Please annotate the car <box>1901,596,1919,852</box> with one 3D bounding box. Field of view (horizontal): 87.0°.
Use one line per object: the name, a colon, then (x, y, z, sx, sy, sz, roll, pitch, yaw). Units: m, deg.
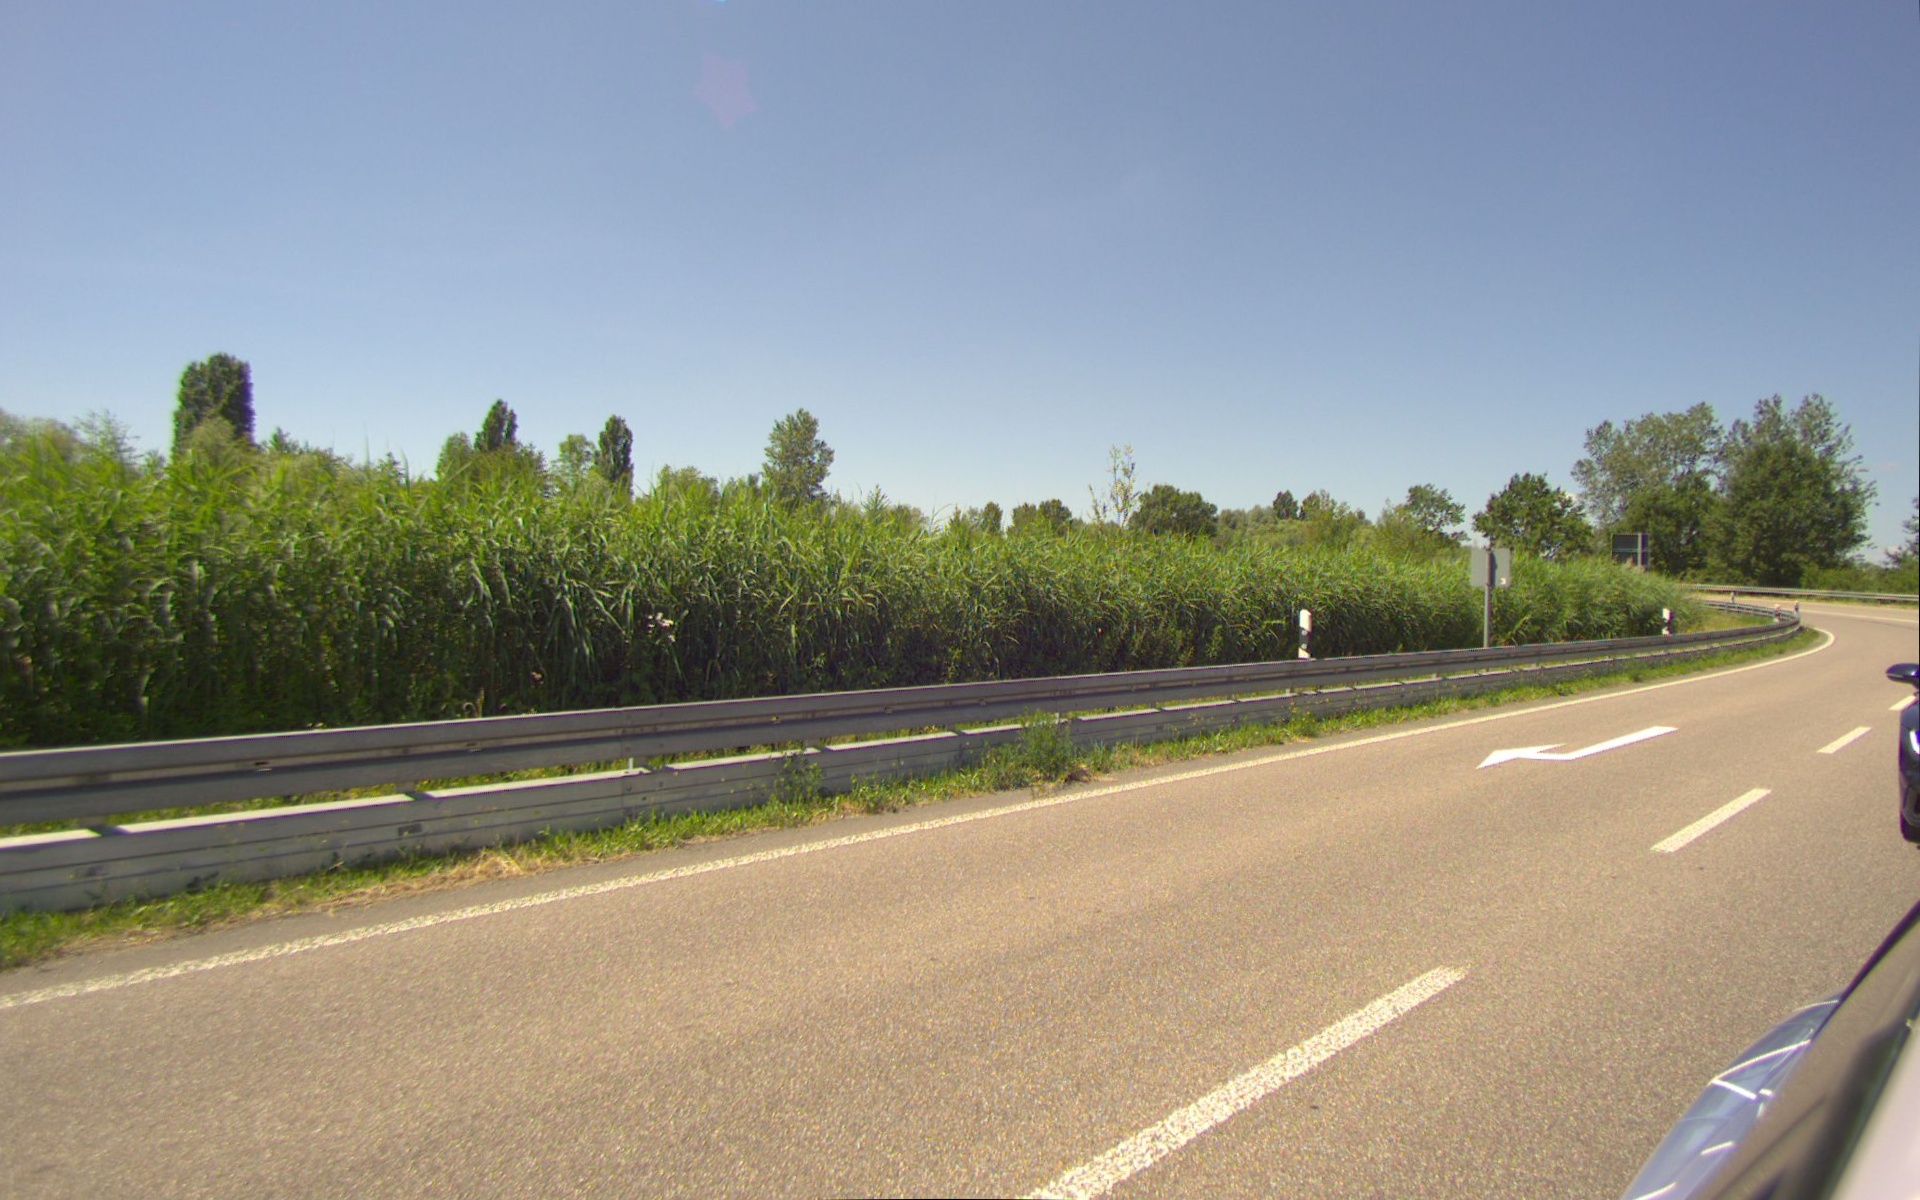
car: (7.354, 0.684, 6.342, 3.931, 1.427, 1.759, -1, 1, -41)
